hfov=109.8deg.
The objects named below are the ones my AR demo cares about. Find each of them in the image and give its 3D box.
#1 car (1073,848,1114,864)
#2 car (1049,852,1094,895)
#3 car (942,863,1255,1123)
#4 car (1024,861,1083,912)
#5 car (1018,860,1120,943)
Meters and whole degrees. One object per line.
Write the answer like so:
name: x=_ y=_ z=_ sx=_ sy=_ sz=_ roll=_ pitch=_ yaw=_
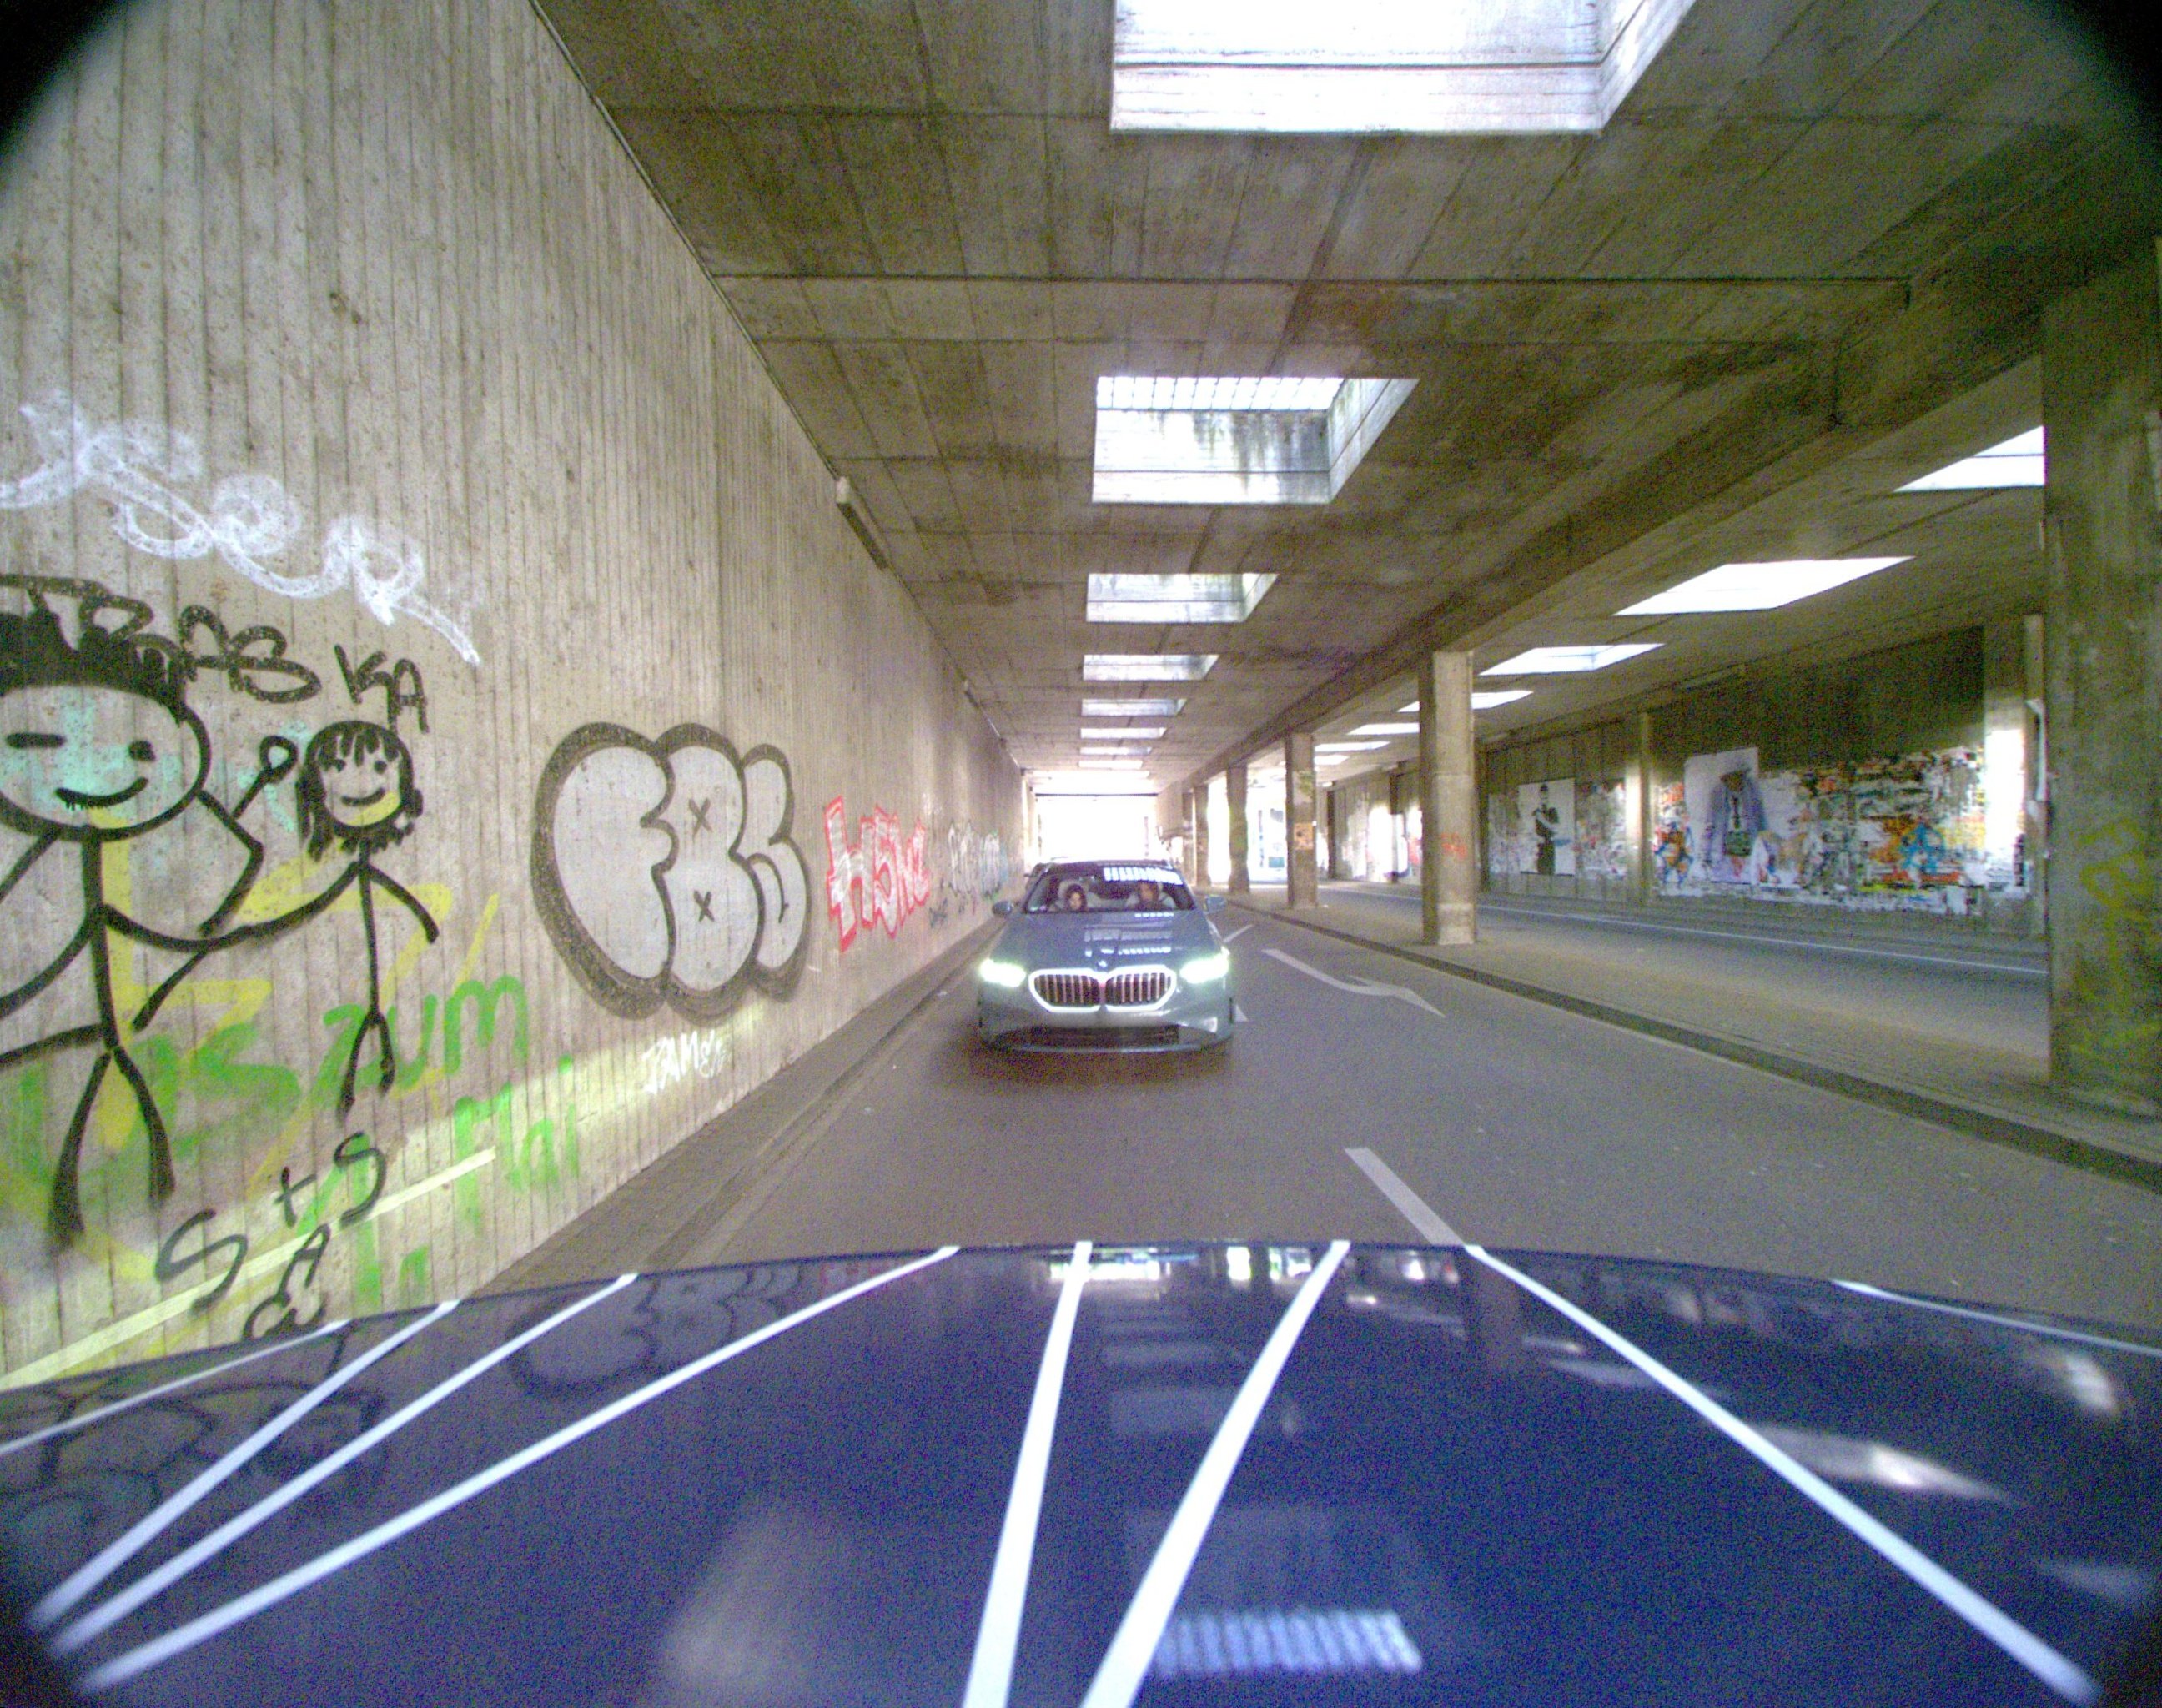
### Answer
car: x=1.284 y=0.221 z=77.221 sx=1.929 sy=1.543 sz=4.008 roll=-1 pitch=0 yaw=44
car: x=-0.322 y=0.713 z=29.970 sx=1.616 sy=1.546 sz=4.013 roll=-1 pitch=0 yaw=1
car: x=0.148 y=0.914 z=7.347 sx=1.957 sy=1.546 sz=5.040 roll=-1 pitch=0 yaw=1
car: x=-0.775 y=0.940 z=23.794 sx=1.616 sy=1.367 sz=4.199 roll=-1 pitch=0 yaw=1
car: x=-0.206 y=0.946 z=16.971 sx=1.957 sy=1.546 sz=4.247 roll=-1 pitch=0 yaw=1
